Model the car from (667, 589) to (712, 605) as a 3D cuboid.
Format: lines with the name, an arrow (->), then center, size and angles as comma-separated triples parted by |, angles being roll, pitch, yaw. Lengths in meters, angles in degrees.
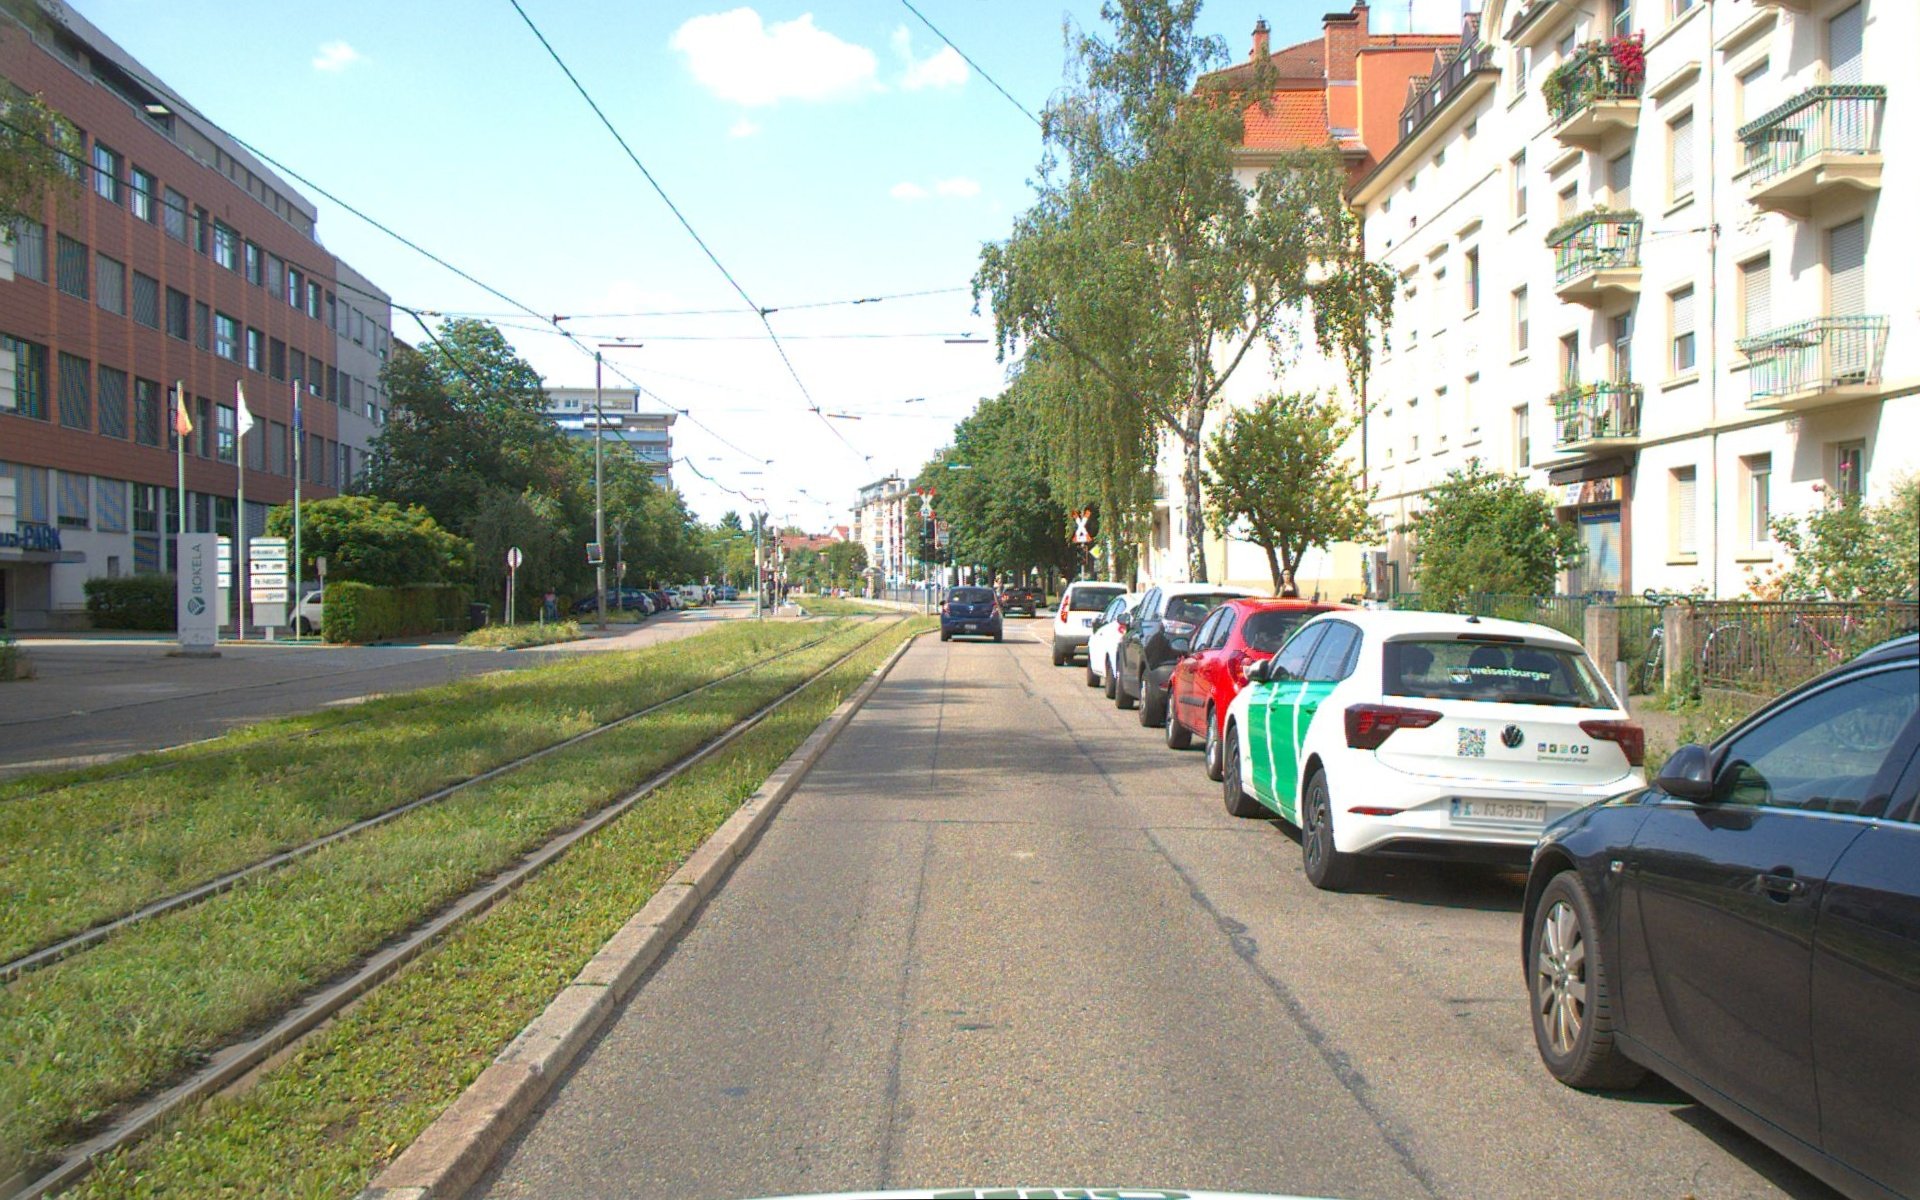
car -> -26.261, -0.284, 160.580 | 3.964, 1.472, 1.703 | -2, 1, -41

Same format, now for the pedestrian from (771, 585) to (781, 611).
pedestrian -> -13.025, -0.157, 117.038 | 0.591, 1.797, 0.639 | -1, 0, 3

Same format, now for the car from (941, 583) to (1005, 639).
car -> 0.387, 0.284, 46.298 | 1.731, 1.487, 3.776 | 0, 0, 1

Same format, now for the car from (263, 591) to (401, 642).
car -> -21.299, 0.544, 56.224 | 3.907, 1.624, 1.999 | -1, 0, -3

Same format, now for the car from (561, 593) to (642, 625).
car -> -19.723, 0.502, 91.097 | 1.697, 1.669, 4.103 | -1, 0, 45

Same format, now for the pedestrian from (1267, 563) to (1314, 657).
pedestrian -> 6.244, 0.182, 31.289 | 0.714, 1.712, 0.691 | -3, 0, 3

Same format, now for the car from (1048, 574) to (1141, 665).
car -> 2.625, 0.360, 33.016 | 1.685, 1.658, 4.001 | 2, 0, 3

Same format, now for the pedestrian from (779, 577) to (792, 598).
pedestrian -> -12.439, -0.871, 118.037 | 0.642, 1.451, 0.562 | -2, 0, 31

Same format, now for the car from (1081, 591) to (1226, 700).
car -> 2.804, 0.619, 24.662 | 1.638, 1.441, 3.795 | 2, 0, -1

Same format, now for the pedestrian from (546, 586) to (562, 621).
pedestrian -> -20.088, 0.170, 81.862 | 0.545, 1.686, 0.747 | -1, 0, 3

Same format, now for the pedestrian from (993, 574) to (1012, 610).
pedestrian -> 2.165, -0.409, 85.157 | 0.854, 1.806, 1.002 | 0, 0, -5

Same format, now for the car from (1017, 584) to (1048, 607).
car -> 4.932, -0.294, 112.956 | 1.823, 1.470, 4.000 | -3, 0, 0

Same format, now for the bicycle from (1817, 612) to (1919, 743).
bicycle -> 7.349, 0.586, 13.007 | 0.379, 0.955, 1.585 | -1, 0, 0

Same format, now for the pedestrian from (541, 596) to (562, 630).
pedestrian -> -19.565, 0.626, 79.186 | 0.730, 1.601, 0.889 | -1, -1, 3

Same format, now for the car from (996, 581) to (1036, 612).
car -> 2.621, -0.159, 77.987 | 1.665, 1.392, 3.513 | 1, 0, -2

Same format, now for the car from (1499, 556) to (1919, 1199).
car -> 2.843, 0.710, 3.670 | 1.755, 1.547, 4.526 | 2, 0, 0

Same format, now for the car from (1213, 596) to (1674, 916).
car -> 2.651, 0.753, 9.995 | 1.586, 1.478, 3.918 | 3, 0, 0

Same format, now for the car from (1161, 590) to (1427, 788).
car -> 2.850, 0.686, 14.863 | 1.556, 1.478, 3.844 | 3, 0, 0

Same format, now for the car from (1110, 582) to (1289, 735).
car -> 2.723, 0.612, 19.531 | 1.463, 1.607, 3.758 | 1, 0, -1

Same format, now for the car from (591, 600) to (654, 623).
car -> -19.717, 0.656, 96.707 | 1.519, 1.258, 3.365 | -1, 0, 45

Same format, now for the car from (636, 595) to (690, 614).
car -> -23.362, 0.335, 130.315 | 1.686, 1.391, 3.975 | -1, 0, 43

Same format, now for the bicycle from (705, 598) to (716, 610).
bicycle -> -21.517, 0.357, 142.898 | 0.667, 0.988, 2.178 | -2, 0, -2
